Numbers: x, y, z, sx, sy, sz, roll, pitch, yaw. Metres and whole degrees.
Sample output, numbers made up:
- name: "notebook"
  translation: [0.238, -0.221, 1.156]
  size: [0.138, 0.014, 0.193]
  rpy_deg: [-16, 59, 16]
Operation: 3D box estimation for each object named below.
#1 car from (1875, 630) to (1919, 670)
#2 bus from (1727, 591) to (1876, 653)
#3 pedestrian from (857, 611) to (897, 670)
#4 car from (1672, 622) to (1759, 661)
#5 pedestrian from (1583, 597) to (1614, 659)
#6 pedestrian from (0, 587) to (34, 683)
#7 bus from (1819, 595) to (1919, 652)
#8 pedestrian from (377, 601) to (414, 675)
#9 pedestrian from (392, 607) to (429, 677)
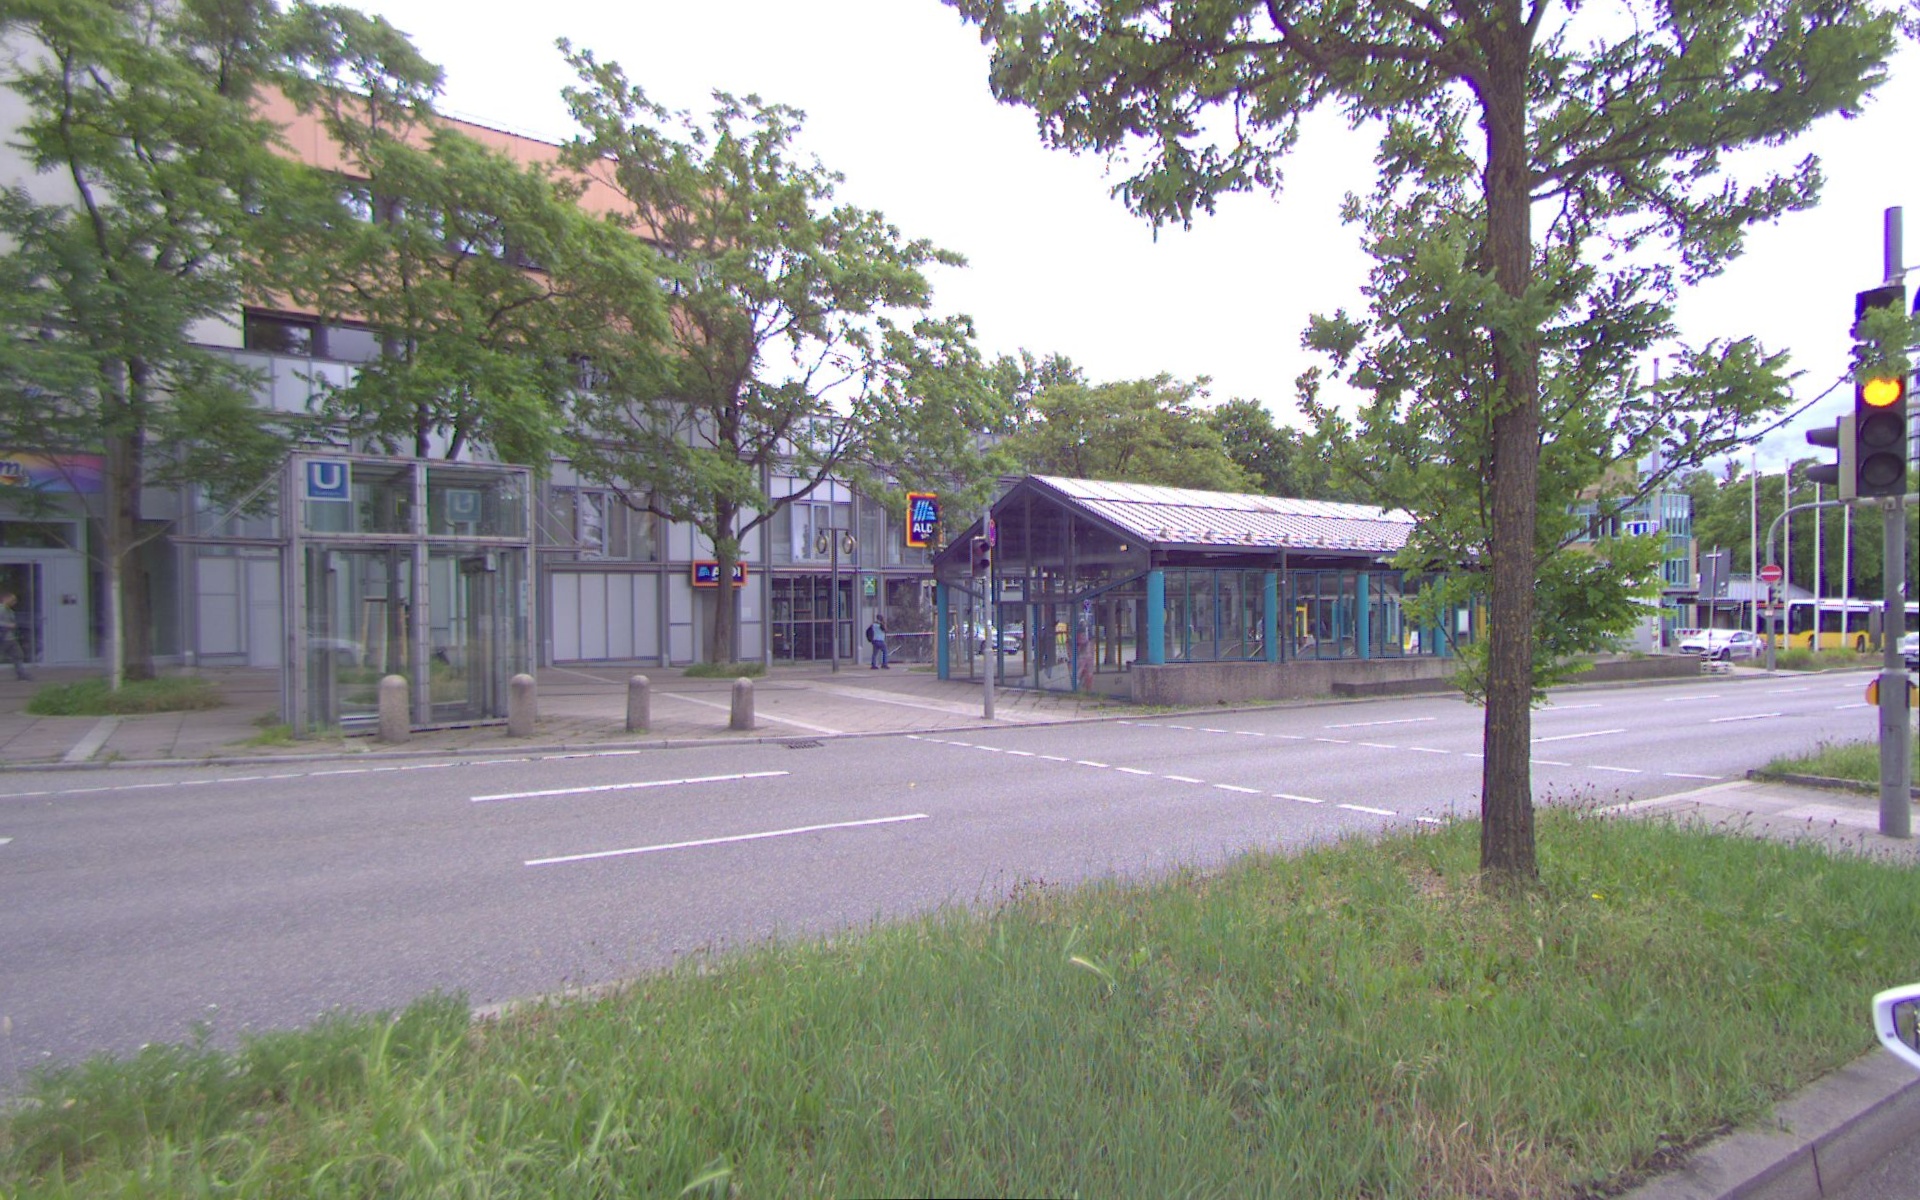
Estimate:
- name: "car"
  translation: [37.805, 1.934, 39.287]
  size: [3.955, 1.505, 1.983]
  rpy_deg: [1, -1, -32]
- name: "bus"
  translation: [50.203, 1.370, 59.827]
  size: [10.592, 3.476, 2.822]
  rpy_deg: [1, -1, -26]
- name: "pedestrian"
  translation: [-2.514, 1.212, 30.468]
  size: [0.879, 1.739, 0.764]
  rpy_deg: [1, 2, -39]
- name: "car"
  translation: [34.810, 1.900, 46.271]
  size: [3.951, 1.684, 1.798]
  rpy_deg: [1, -1, -29]
- name: "pedestrian"
  translation: [21.411, 0.940, 33.668]
  size: [0.639, 2.040, 0.677]
  rpy_deg: [1, -1, -34]
- name: "pedestrian"
  translation: [-17.705, 0.635, 18.579]
  size: [0.783, 1.739, 0.764]
  rpy_deg: [1, 2, -39]
- name: "bus"
  translation: [59.630, 1.569, 64.542]
  size: [10.592, 3.476, 2.822]
  rpy_deg: [1, -1, -26]
- name: "pedestrian"
  translation: [-13.547, 0.909, 24.097]
  size: [0.674, 1.750, 0.560]
  rpy_deg: [1, -1, -39]
- name: "pedestrian"
  translation: [-12.987, 0.985, 23.749]
  size: [0.674, 1.610, 0.513]
  rpy_deg: [1, -1, -39]
